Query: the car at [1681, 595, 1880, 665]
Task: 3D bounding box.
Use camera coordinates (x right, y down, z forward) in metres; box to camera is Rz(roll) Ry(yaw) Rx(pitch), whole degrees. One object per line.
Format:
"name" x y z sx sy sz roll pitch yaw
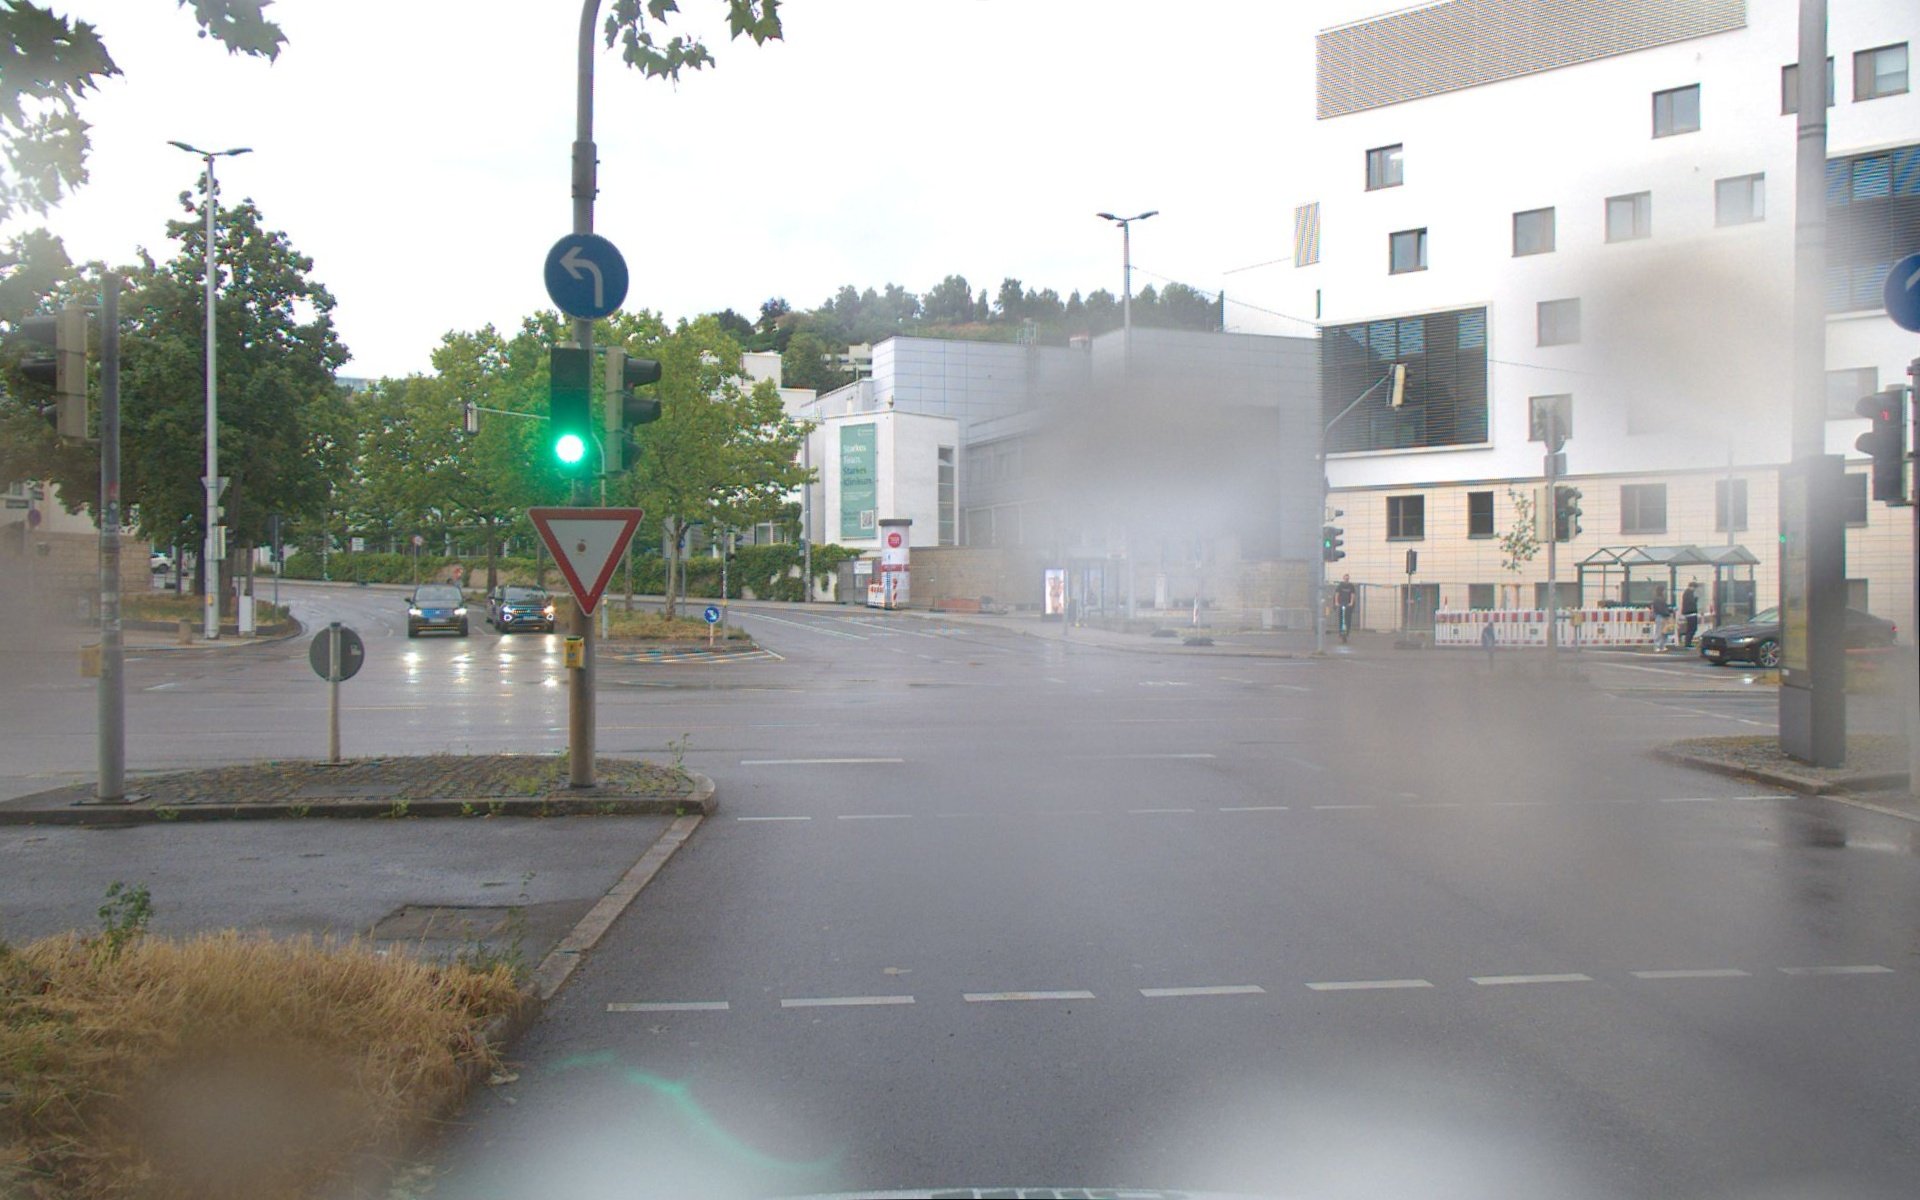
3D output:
"car" 18.923 0.682 38.165 3.921 1.469 1.790 2 0 -16

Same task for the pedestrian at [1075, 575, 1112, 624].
"pedestrian" 4.965 -0.016 61.571 1.232 1.749 1.016 1 -1 -2

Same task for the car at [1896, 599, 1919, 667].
"car" 22.697 0.781 36.024 3.921 1.469 1.790 2 0 -16

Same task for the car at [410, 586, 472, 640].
"car" -16.749 0.383 53.376 1.839 1.591 4.255 -1 1 -18

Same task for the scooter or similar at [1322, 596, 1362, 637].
"scooter or similar" 12.077 0.511 52.327 0.582 1.260 1.305 2 -1 -22

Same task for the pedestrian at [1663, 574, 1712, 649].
"pedestrian" 19.619 0.321 44.645 0.980 1.969 0.955 1 -1 9

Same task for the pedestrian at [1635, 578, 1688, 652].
"pedestrian" 18.024 0.383 42.521 0.934 1.872 0.821 2 -1 -12

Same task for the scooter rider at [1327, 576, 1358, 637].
"scooter rider" 12.115 0.215 52.348 0.713 1.916 0.628 2 -1 -21

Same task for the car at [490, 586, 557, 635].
"car" -15.165 0.320 57.381 1.764 1.612 3.973 0 1 -22
